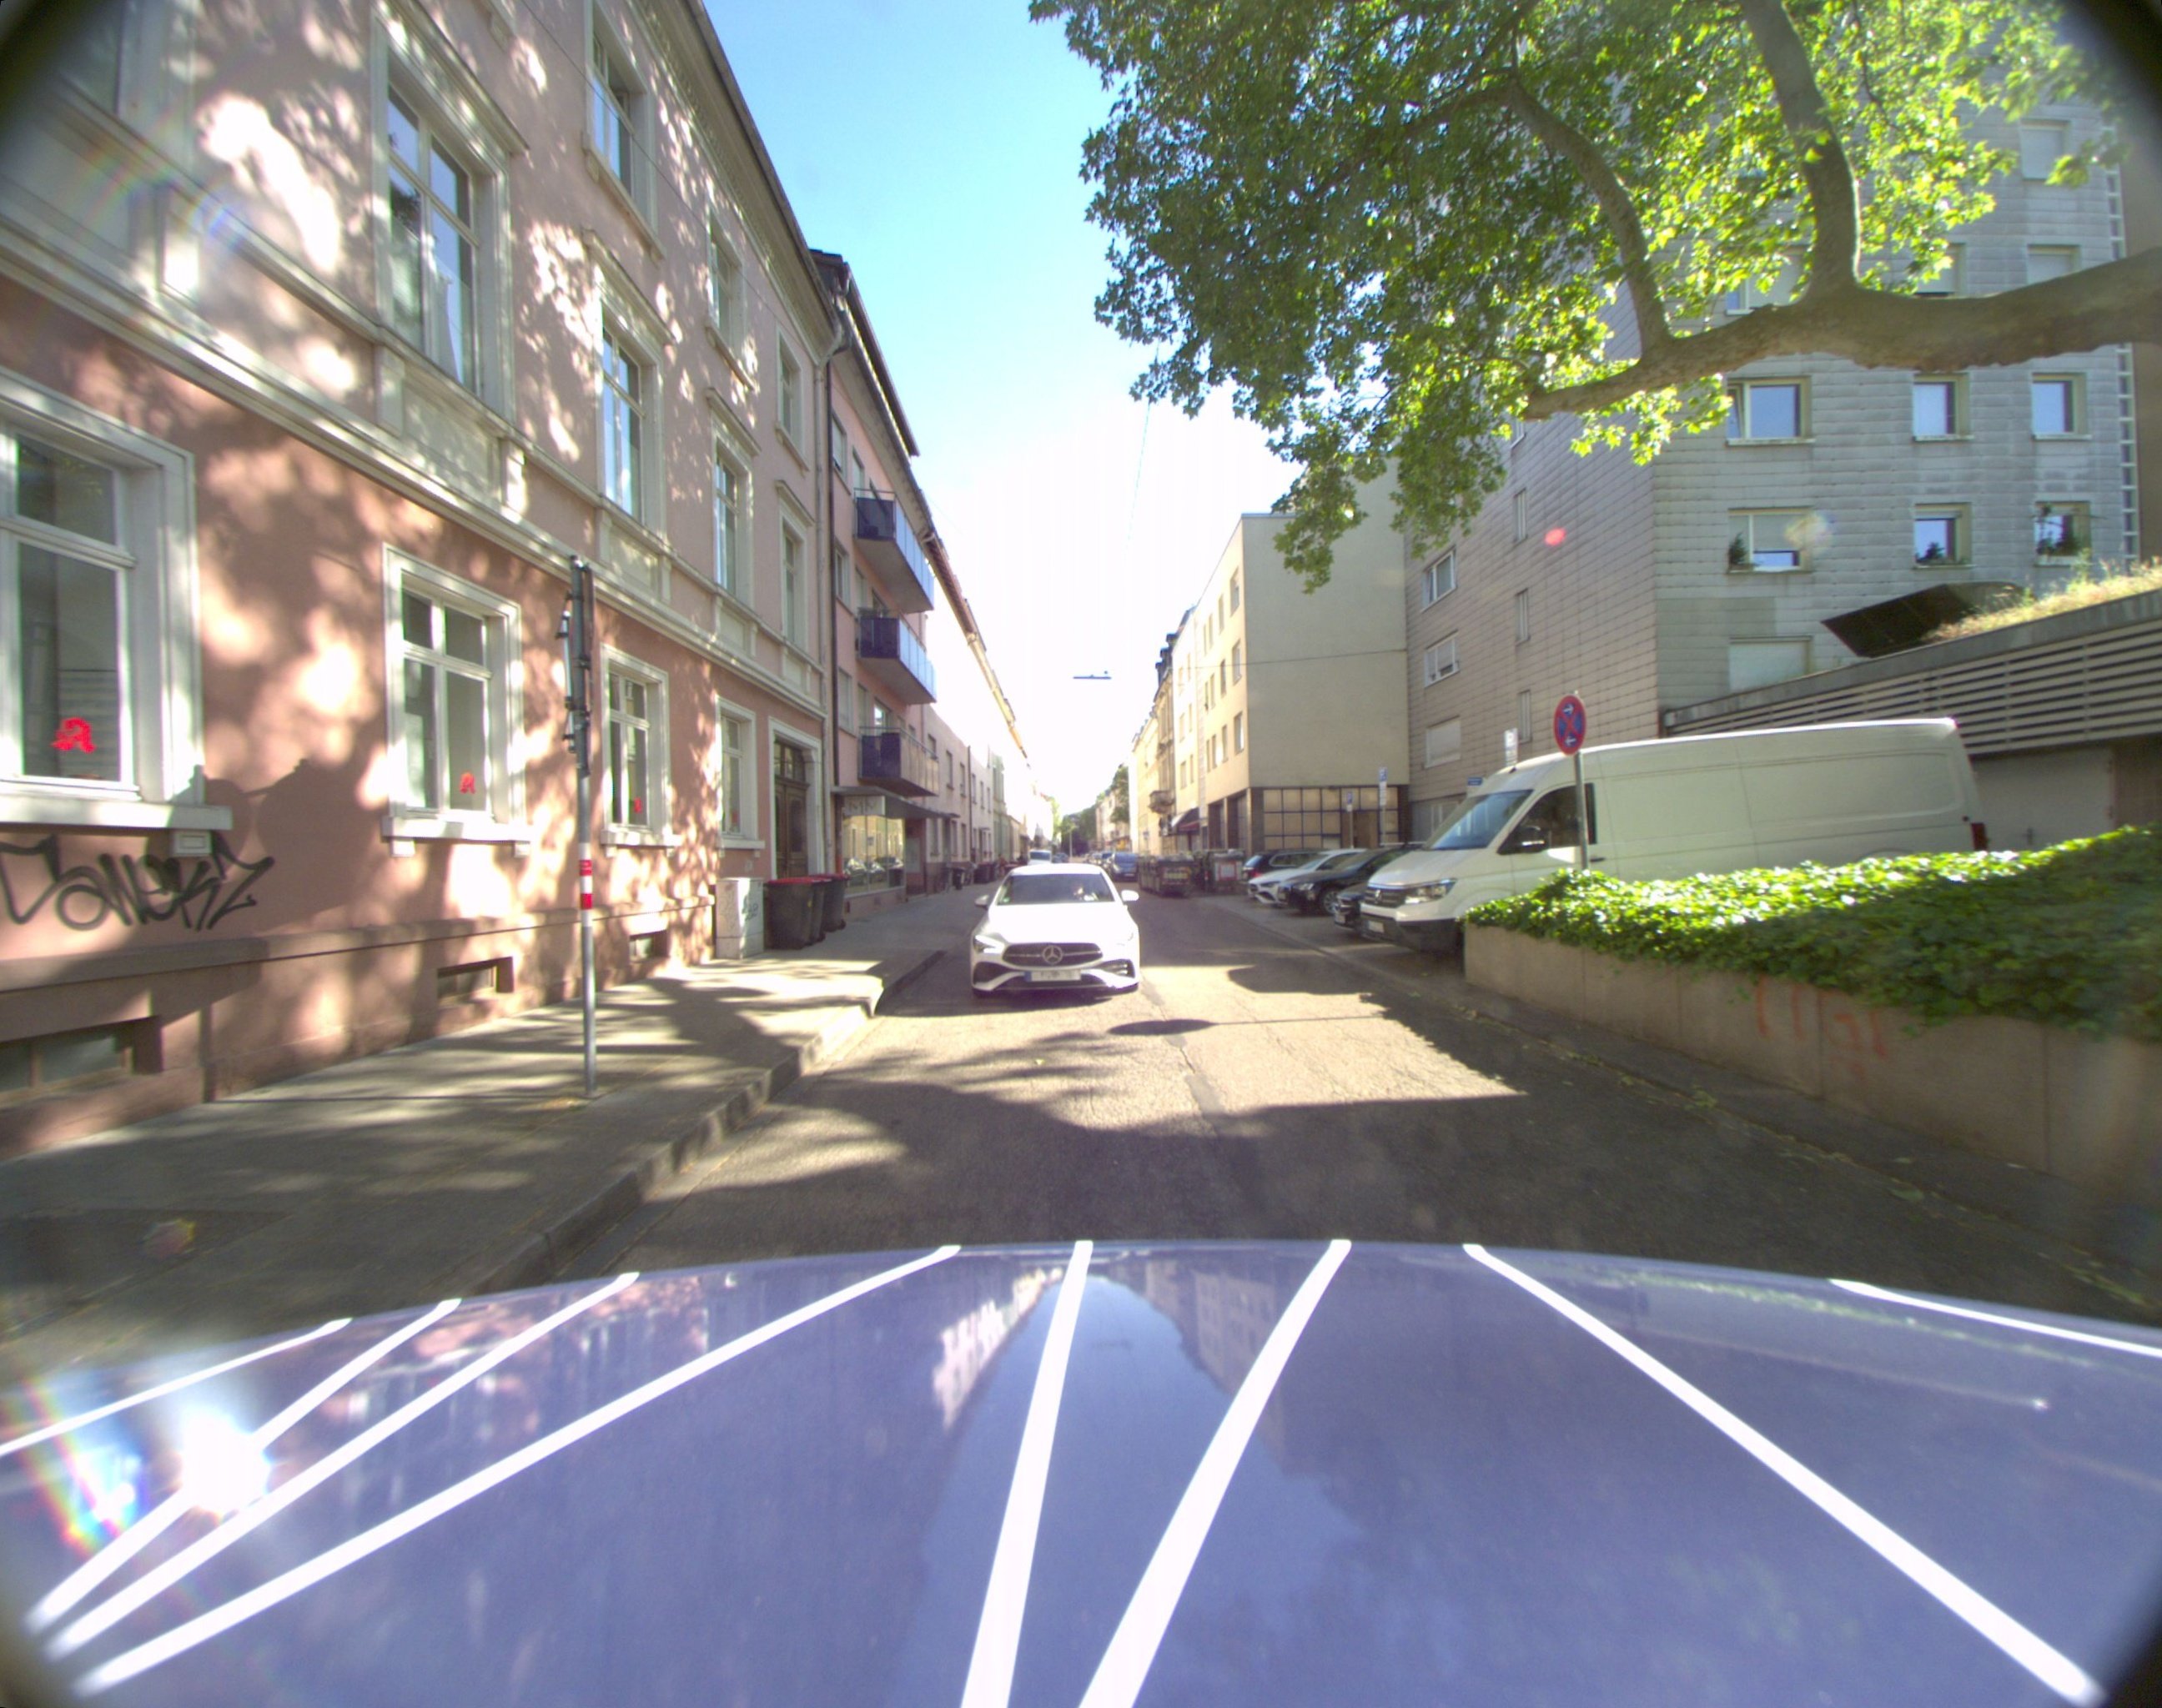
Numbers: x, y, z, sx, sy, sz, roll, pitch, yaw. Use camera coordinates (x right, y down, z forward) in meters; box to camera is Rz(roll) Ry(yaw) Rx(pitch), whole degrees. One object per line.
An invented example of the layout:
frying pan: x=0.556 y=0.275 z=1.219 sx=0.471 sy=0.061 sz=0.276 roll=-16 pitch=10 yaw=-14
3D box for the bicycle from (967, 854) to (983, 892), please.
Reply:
bicycle: x=-4.977 y=0.861 z=35.731 sx=0.402 sy=1.725 sz=2.107 roll=-1 pitch=0 yaw=1

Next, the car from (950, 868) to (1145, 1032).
car: x=-0.310 y=0.989 z=9.736 sx=1.862 sy=1.448 sz=4.562 roll=-2 pitch=0 yaw=0

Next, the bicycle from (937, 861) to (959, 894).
bicycle: x=-4.878 y=0.844 z=27.983 sx=0.402 sy=1.143 sz=2.025 roll=-1 pitch=0 yaw=1

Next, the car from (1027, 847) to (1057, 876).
car: x=-2.623 y=0.502 z=51.801 sx=1.765 sy=1.843 sz=4.327 roll=-2 pitch=0 yaw=1

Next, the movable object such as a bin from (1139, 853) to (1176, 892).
movable object such as a bin: x=3.030 y=0.716 z=30.365 sx=1.222 sy=1.492 sz=1.560 roll=-2 pitch=1 yaw=-2

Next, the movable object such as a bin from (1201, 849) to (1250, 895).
movable object such as a bin: x=4.841 y=0.587 z=25.542 sx=1.328 sy=1.492 sz=1.195 roll=-2 pitch=1 yaw=-2

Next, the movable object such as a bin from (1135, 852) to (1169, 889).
movable object such as a bin: x=2.961 y=0.675 z=31.947 sx=1.222 sy=1.492 sz=1.560 roll=-2 pitch=1 yaw=-2

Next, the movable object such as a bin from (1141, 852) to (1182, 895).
movable object such as a bin: x=3.000 y=0.704 z=28.501 sx=1.247 sy=1.492 sz=1.925 roll=-2 pitch=0 yaw=-2

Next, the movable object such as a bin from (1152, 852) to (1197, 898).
movable object such as a bin: x=3.194 y=0.689 z=26.129 sx=1.241 sy=1.492 sz=1.877 roll=-2 pitch=1 yaw=-1

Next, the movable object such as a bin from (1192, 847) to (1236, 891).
movable object such as a bin: x=4.719 y=0.528 z=27.005 sx=1.222 sy=1.492 sz=1.517 roll=-2 pitch=1 yaw=-2

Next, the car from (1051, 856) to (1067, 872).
car: x=-2.537 y=1.175 z=90.102 sx=1.765 sy=1.698 sz=4.327 roll=-2 pitch=0 yaw=0

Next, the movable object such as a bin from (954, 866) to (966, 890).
movable object such as a bin: x=-4.847 y=0.972 z=30.510 sx=0.416 sy=0.935 sz=0.302 roll=1 pitch=1 yaw=-2

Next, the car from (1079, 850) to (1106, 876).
car: x=0.818 y=0.619 z=53.596 sx=1.765 sy=1.698 sz=4.327 roll=-2 pitch=0 yaw=1

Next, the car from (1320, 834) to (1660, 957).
car: x=6.295 y=0.605 z=12.025 sx=4.415 sy=1.524 sz=1.698 roll=-4 pitch=0 yaw=-1

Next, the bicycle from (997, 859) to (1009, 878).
bicycle: x=-4.698 y=0.887 z=45.786 sx=0.490 sy=1.089 sz=1.933 roll=-1 pitch=0 yaw=1

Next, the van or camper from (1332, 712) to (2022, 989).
van or camper: x=7.040 y=-0.028 z=9.562 sx=6.922 sy=2.559 sz=2.000 roll=-5 pitch=0 yaw=0

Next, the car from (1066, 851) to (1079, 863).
car: x=-1.289 y=0.425 z=115.697 sx=1.765 sy=1.698 sz=4.327 roll=-2 pitch=0 yaw=0

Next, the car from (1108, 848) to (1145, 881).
car: x=2.462 y=0.554 z=42.182 sx=1.765 sy=1.698 sz=4.327 roll=-2 pitch=0 yaw=1

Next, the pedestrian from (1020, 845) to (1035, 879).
pedestrian: x=-3.174 y=0.463 z=44.973 sx=0.761 sy=2.002 sz=0.771 roll=-1 pitch=1 yaw=0

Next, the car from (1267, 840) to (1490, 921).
car: x=6.668 y=0.568 z=17.257 sx=4.417 sy=1.607 sz=1.698 roll=-2 pitch=0 yaw=-6

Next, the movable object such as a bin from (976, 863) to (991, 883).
movable object such as a bin: x=-4.889 y=0.956 z=38.129 sx=0.717 sy=0.996 sz=0.546 roll=1 pitch=1 yaw=-2

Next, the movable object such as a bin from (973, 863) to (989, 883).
movable object such as a bin: x=-4.924 y=0.939 z=37.517 sx=0.717 sy=0.996 sz=0.546 roll=1 pitch=1 yaw=-2

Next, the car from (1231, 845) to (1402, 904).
car: x=6.776 y=0.579 z=22.121 sx=4.417 sy=1.524 sz=1.698 roll=-2 pitch=0 yaw=-6

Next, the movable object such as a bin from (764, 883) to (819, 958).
movable object such as a bin: x=-4.392 y=0.992 z=11.555 sx=0.570 sy=1.078 sz=0.654 roll=1 pitch=1 yaw=-2

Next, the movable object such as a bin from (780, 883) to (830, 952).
movable object such as a bin: x=-4.416 y=1.007 z=12.181 sx=0.570 sy=1.052 sz=0.612 roll=1 pitch=1 yaw=-2

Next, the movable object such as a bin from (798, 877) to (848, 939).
movable object such as a bin: x=-4.778 y=0.988 z=14.093 sx=0.718 sy=1.078 sz=0.618 roll=1 pitch=1 yaw=-2

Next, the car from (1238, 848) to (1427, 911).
car: x=6.515 y=0.643 z=19.904 sx=4.417 sy=1.454 sz=1.599 roll=-2 pitch=0 yaw=-6
